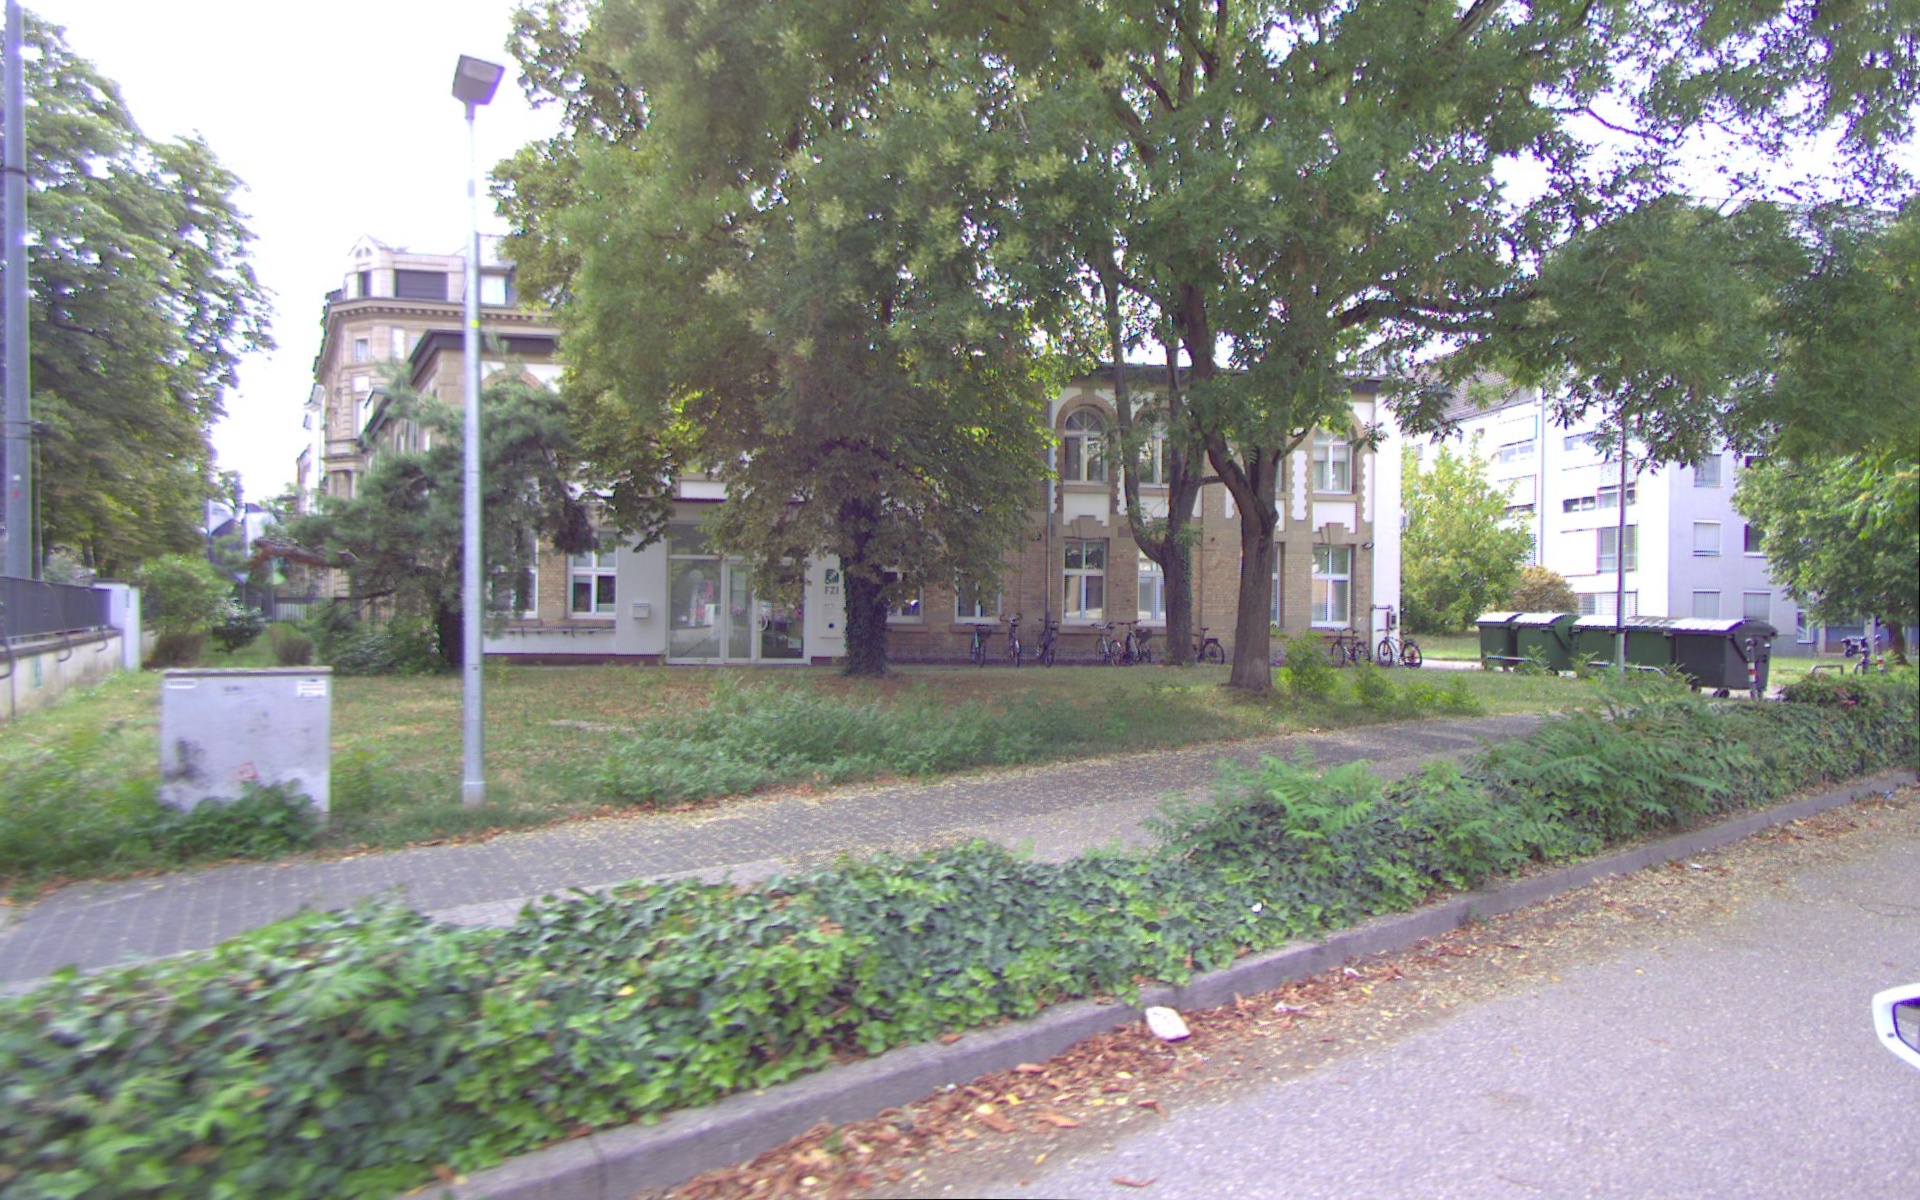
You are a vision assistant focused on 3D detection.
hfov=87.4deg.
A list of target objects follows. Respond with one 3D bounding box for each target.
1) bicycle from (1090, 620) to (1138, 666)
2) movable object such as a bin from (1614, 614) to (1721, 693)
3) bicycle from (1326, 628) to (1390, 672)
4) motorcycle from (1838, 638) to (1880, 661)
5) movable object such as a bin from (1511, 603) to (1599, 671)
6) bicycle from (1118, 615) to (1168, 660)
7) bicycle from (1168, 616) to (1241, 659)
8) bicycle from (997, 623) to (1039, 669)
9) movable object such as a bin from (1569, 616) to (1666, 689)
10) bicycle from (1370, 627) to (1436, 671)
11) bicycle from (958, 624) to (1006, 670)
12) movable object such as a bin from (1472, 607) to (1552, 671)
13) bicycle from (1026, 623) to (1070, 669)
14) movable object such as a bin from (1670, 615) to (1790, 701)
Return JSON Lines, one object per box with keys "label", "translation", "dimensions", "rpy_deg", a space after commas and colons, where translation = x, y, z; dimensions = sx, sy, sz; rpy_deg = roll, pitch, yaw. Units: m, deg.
{"label": "bicycle", "translation": [3.835, 1.053, 25.130], "dimensions": [0.584, 1.057, 1.974], "rpy_deg": [0, 0, -10]}
{"label": "movable object such as a bin", "translation": [13.647, 1.012, 19.408], "dimensions": [1.102, 1.449, 1.282], "rpy_deg": [1, 0, -8]}
{"label": "bicycle", "translation": [10.334, 1.281, 26.161], "dimensions": [0.584, 1.057, 1.974], "rpy_deg": [0, 0, -10]}
{"label": "motorcycle", "translation": [52.464, 2.866, 58.607], "dimensions": [2.109, 1.307, 0.667], "rpy_deg": [1, 0, -10]}
{"label": "movable object such as a bin", "translation": [13.218, 0.801, 22.347], "dimensions": [1.102, 1.449, 1.282], "rpy_deg": [1, 0, -8]}
{"label": "bicycle", "translation": [4.588, 0.918, 25.314], "dimensions": [0.584, 1.057, 1.974], "rpy_deg": [0, 0, -10]}
{"label": "bicycle", "translation": [6.281, 0.949, 25.936], "dimensions": [0.588, 1.057, 1.959], "rpy_deg": [0, 0, -33]}
{"label": "bicycle", "translation": [1.422, 1.104, 24.807], "dimensions": [0.584, 1.057, 1.974], "rpy_deg": [0, 0, -10]}
{"label": "movable object such as a bin", "translation": [13.575, 1.063, 20.774], "dimensions": [1.102, 1.449, 1.282], "rpy_deg": [1, 0, -8]}
{"label": "bicycle", "translation": [11.641, 1.274, 26.444], "dimensions": [0.584, 1.057, 1.974], "rpy_deg": [0, 0, -10]}
{"label": "bicycle", "translation": [0.515, 1.136, 24.760], "dimensions": [0.585, 1.057, 1.970], "rpy_deg": [0, 0, -18]}
{"label": "movable object such as a bin", "translation": [13.009, 0.894, 23.719], "dimensions": [1.102, 1.449, 1.282], "rpy_deg": [1, 0, -8]}
{"label": "bicycle", "translation": [2.172, 1.117, 24.986], "dimensions": [0.584, 1.057, 1.974], "rpy_deg": [0, 0, -10]}
{"label": "movable object such as a bin", "translation": [13.648, 1.002, 17.849], "dimensions": [1.102, 1.449, 1.282], "rpy_deg": [1, 0, -8]}
